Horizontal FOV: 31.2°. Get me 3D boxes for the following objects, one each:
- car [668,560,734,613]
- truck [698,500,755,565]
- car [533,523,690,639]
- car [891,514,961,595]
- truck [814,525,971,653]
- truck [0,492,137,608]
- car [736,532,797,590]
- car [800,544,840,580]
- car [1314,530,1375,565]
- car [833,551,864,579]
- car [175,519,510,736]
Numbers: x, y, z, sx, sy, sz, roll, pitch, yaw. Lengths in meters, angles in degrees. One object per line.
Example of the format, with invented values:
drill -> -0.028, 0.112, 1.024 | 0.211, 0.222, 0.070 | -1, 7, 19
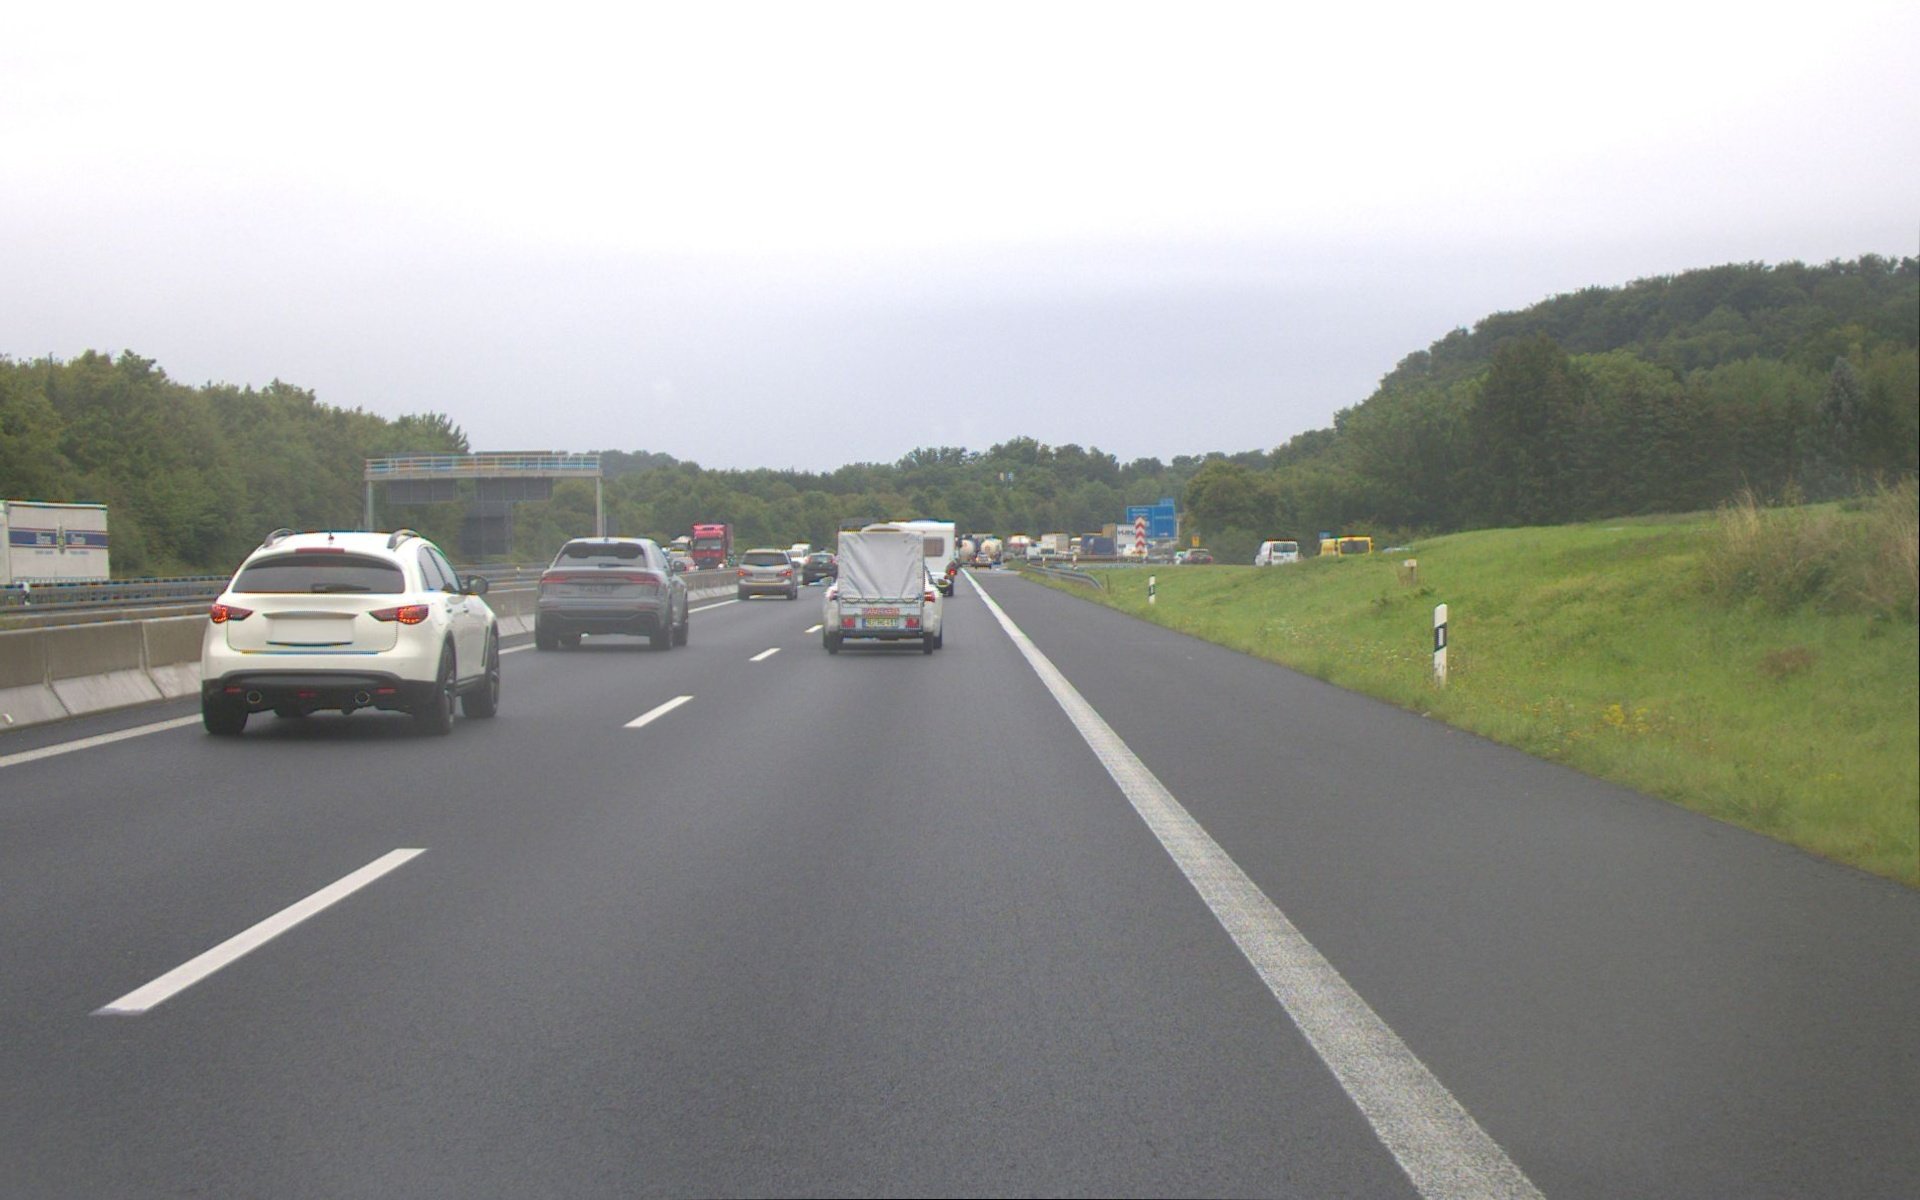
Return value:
car -> -8.344, -0.445, 111.104 | 1.819, 1.656, 4.017 | 0, 1, 0
truck -> -17.315, -5.028, 255.544 | 3.400, 4.717, 10.485 | 0, 1, 0
car -> -5.334, -0.324, 53.113 | 1.975, 1.697, 4.802 | 1, 1, -1
car -> -1.165, -1.576, 120.269 | 2.331, 2.716, 6.540 | 1, 1, 0
truck -> -1.026, -0.209, 52.671 | 2.242, 1.833, 6.585 | 0, 1, -1
truck -> -32.741, -1.763, 121.188 | 3.178, 3.795, 17.135 | -1, 1, 0
car -> -6.091, -1.240, 108.446 | 1.738, 1.787, 4.000 | 0, 1, -1
car -> -6.347, -1.718, 156.224 | 1.645, 1.568, 4.000 | 1, 1, 0
car -> 17.439, -2.375, 156.121 | 1.993, 1.547, 4.001 | 1, 1, -5
car -> -6.369, -1.999, 196.930 | 1.645, 1.568, 4.000 | 1, 1, 0
car -> -5.070, 0.177, 28.838 | 2.048, 1.665, 4.541 | 0, 1, -1
